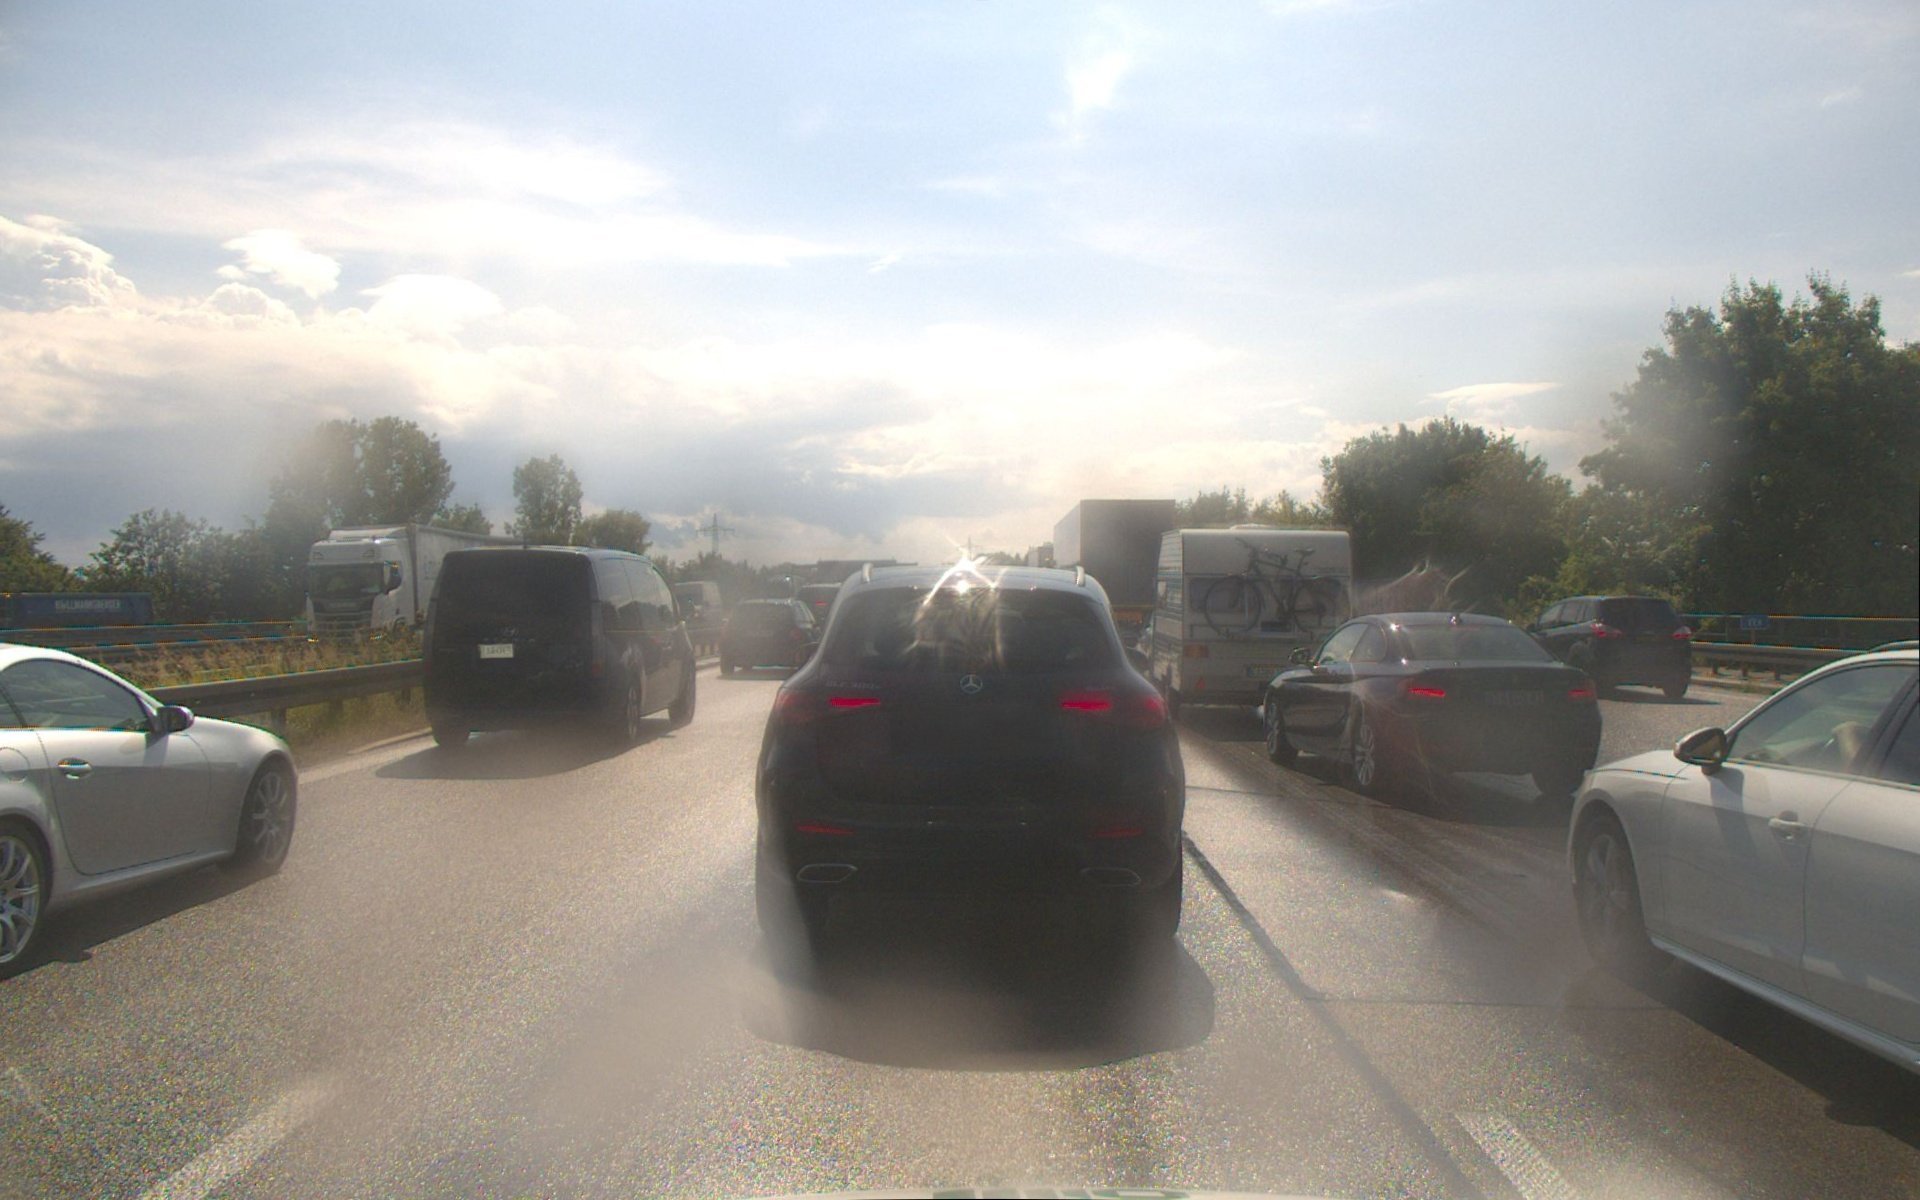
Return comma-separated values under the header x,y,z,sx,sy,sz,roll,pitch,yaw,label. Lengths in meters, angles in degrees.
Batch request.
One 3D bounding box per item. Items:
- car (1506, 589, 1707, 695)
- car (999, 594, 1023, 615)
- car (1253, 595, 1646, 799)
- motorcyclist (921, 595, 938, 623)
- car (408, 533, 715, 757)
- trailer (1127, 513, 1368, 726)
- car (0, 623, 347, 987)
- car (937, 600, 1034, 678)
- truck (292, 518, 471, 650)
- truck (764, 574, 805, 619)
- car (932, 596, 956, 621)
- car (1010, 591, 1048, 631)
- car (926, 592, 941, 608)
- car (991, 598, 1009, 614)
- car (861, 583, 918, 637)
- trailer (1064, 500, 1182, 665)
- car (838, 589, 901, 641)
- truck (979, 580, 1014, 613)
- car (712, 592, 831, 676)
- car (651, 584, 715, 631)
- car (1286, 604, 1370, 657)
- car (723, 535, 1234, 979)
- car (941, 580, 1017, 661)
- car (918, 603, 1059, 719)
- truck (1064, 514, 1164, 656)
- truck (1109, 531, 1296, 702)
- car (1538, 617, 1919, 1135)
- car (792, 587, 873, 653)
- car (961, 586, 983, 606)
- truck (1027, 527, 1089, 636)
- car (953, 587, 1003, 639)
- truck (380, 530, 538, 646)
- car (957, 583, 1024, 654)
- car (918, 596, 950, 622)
x,y,z,sx,sy,sz,roll,pitch,yaw,label
10.936,0.656,28.311,1.783,1.649,4.364,1,0,1,car
4.491,0.374,146.612,1.838,1.791,3.998,1,0,-2,car
4.021,0.723,14.401,1.813,1.490,4.250,0,0,-6,car
-1.918,0.562,104.489,1.042,1.748,0.785,1,-1,1,motorcyclist
-4.054,0.411,17.853,1.952,2.049,5.270,0,0,1,car
3.803,0.247,23.225,2.325,2.527,6.523,1,0,1,trailer
-4.401,0.788,7.469,1.689,1.300,4.064,0,0,1,car
0.522,0.734,32.802,1.769,1.432,4.000,1,0,1,car
-18.210,-0.402,52.706,2.803,3.888,7.878,0,-1,1,truck
-16.918,-0.287,159.568,2.943,4.175,7.687,-1,0,1,truck
-1.416,0.711,143.969,1.953,2.048,3.999,4,0,-1,car
3.684,0.592,88.624,1.952,2.049,4.001,2,0,2,car
-3.517,0.011,218.061,1.953,2.049,3.999,1,0,-1,car
4.485,0.678,186.313,1.838,1.791,3.998,1,0,-2,car
-2.906,0.398,68.873,1.952,2.048,4.001,4,0,2,car
4.481,-0.448,46.994,2.944,4.239,8.539,1,0,3,trailer
-3.323,0.530,61.361,1.952,1.803,4.001,2,0,2,car
4.641,-0.449,212.914,3.766,4.087,11.214,1,0,-3,truck
-3.655,0.632,32.744,1.720,1.543,4.210,0,0,2,car
-13.837,0.337,83.096,1.952,2.247,6.980,1,0,1,car
11.581,0.931,52.249,1.810,1.596,4.000,1,0,1,car
0.109,0.609,8.546,1.952,1.690,4.406,0,0,1,car
0.566,0.536,45.095,1.952,2.049,4.001,1,0,2,car
0.423,0.749,22.243,1.720,1.411,3.946,0,0,2,car
4.809,-0.441,52.586,2.932,4.239,5.242,1,0,3,truck
3.880,0.256,27.567,2.325,2.520,5.756,1,0,1,truck
3.588,0.814,5.323,1.789,1.450,4.510,2,-1,-1,car
-3.524,0.542,46.507,1.953,1.750,4.000,1,0,0,car
1.056,-0.338,149.977,1.838,1.791,3.998,1,0,-2,car
4.615,-0.809,78.990,2.451,4.914,7.542,1,0,0,truck
0.758,0.509,67.396,1.952,2.049,4.001,1,0,2,car
-18.121,-0.323,60.558,2.790,3.920,9.422,0,-1,1,truck
1.000,0.577,53.458,1.952,2.048,4.001,4,0,2,car
-1.787,0.589,114.210,1.952,1.644,4.001,4,0,2,car
